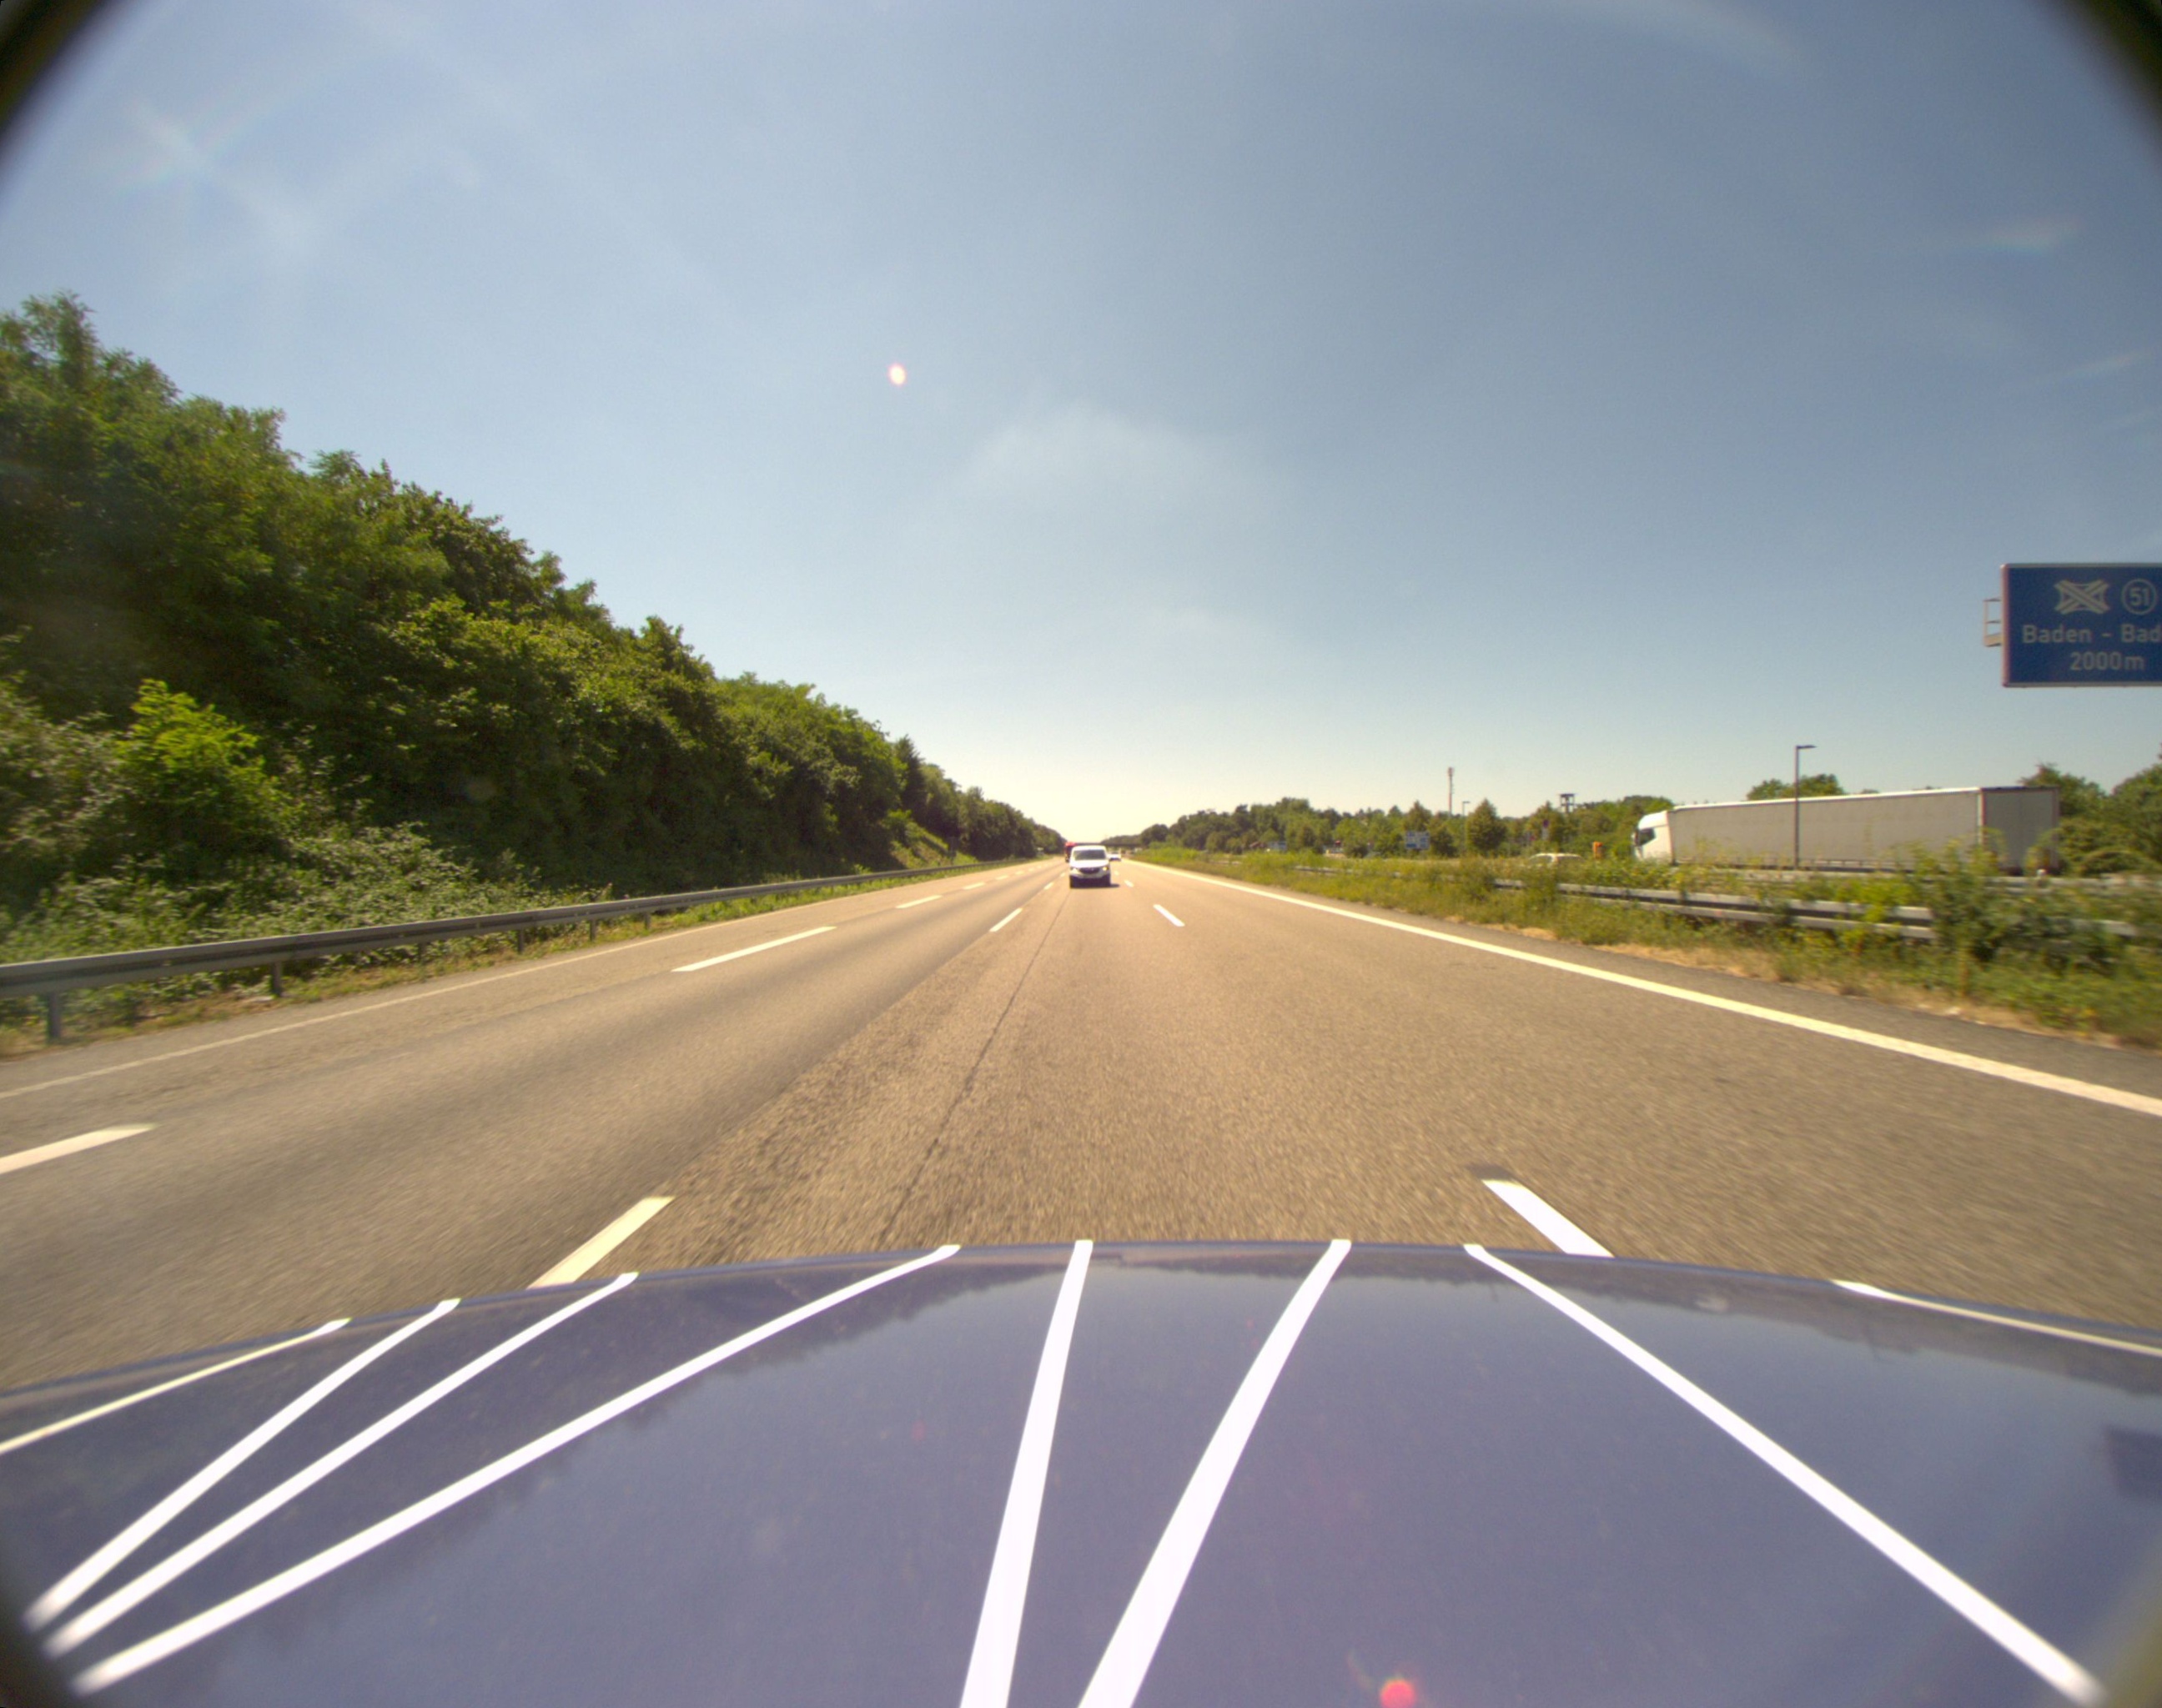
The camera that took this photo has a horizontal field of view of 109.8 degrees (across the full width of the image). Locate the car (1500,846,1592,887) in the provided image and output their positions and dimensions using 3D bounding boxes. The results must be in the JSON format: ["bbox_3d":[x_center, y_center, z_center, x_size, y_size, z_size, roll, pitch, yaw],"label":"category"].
[{"bbox_3d":[21.925,0.531,36.036,1.654,1.737,4.408,-3,1,1],"label":"car"}]

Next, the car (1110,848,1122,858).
[{"bbox_3d":[5.335,-0.207,116.321,1.775,1.410,3.401,-3,1,2],"label":"car"}]

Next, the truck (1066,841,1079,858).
[{"bbox_3d":[-1.780,-1.014,165.797,2.540,3.656,5.219,-3,1,2],"label":"truck"}]

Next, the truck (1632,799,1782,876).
[{"bbox_3d":[32.525,-0.827,39.850,2.806,3.622,6.146,-3,1,1],"label":"truck"}]

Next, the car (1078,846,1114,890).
[{"bbox_3d":[0.631,0.581,33.353,1.413,1.795,3.200,-3,1,1],"label":"car"}]

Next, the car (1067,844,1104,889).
[{"bbox_3d":[0.206,0.499,33.375,1.501,1.799,3.394,-3,1,1],"label":"car"}]

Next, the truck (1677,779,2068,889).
[{"bbox_3d":[32.411,-0.762,32.775,2.806,3.622,13.605,-3,1,1],"label":"truck"}]
